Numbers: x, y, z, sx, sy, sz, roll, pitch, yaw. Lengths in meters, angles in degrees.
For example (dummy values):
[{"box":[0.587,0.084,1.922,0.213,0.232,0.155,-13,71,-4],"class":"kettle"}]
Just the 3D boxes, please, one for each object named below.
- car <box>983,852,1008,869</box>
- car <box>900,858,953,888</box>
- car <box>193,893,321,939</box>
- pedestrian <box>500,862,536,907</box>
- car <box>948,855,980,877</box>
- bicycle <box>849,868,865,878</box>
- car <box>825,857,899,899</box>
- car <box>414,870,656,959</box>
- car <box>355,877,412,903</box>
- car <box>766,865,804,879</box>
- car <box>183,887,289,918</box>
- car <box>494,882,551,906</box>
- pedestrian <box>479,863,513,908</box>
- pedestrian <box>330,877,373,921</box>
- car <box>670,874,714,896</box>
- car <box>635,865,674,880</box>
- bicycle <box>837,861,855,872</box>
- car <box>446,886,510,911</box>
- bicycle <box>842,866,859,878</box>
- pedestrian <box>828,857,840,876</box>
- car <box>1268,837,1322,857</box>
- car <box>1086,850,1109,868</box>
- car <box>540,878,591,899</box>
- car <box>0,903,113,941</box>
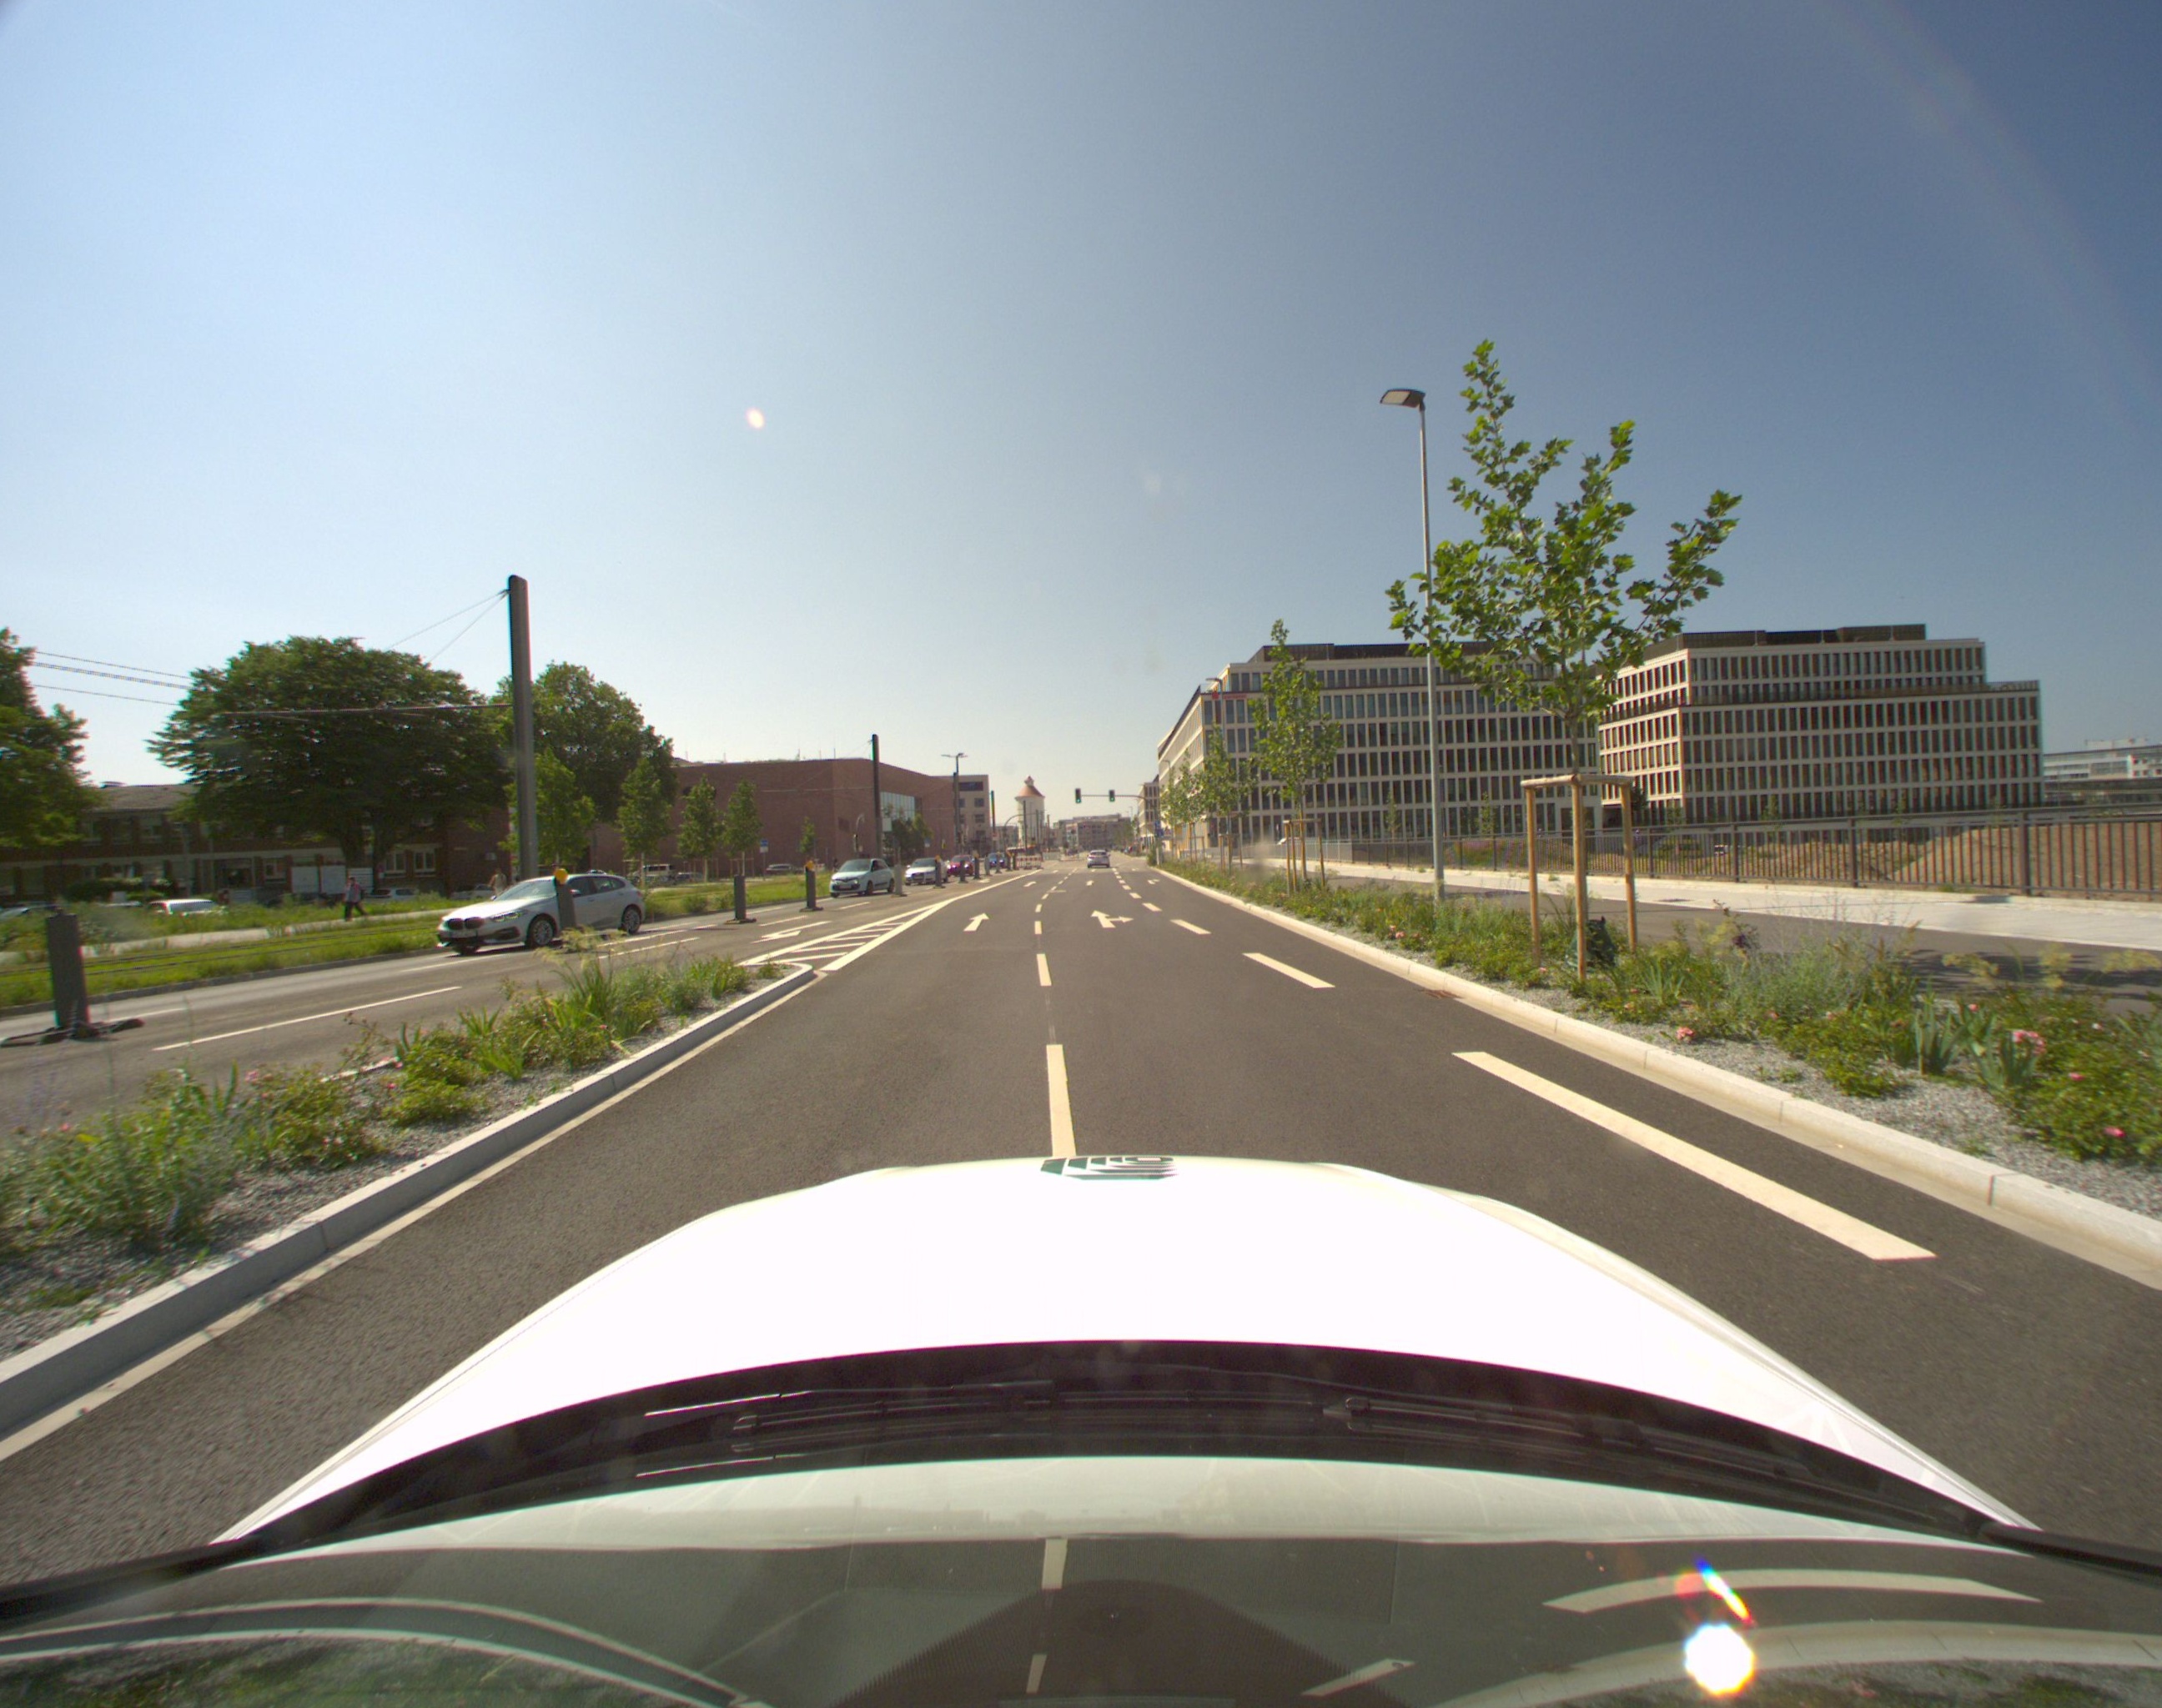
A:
[{"box":[-7.624,0.558,73.159,1.622,1.427,4.291,-3,0,1],"class":"car"},{"box":[-8.448,1.017,44.856,1.572,1.416,4.304,-3,0,6],"class":"car"},{"box":[-34.458,2.555,34.203,1.764,1.590,3.633,-1,0,-3],"class":"car"},{"box":[-26.380,1.418,38.184,0.979,2.013,0.911,-1,0,4],"class":"pedestrian"},{"box":[-8.131,0.826,56.874,1.574,1.416,4.000,-3,0,1],"class":"car"},{"box":[-30.287,2.545,110.134,2.051,1.212,0.538,-2,1,-10],"class":"bicycle"},{"box":[-9.267,0.989,34.738,1.571,1.530,3.630,-5,0,9],"class":"car"},{"box":[-11.267,1.168,17.278,1.665,1.443,4.476,-4,0,6],"class":"car"},{"box":[-43.252,2.191,50.611,1.546,1.457,4.232,-2,0,-25],"class":"car"},{"box":[-32.332,1.974,88.977,3.466,1.369,1.573,-2,1,0],"class":"car"},{"box":[-46.651,2.673,45.061,3.747,1.457,1.535,-2,1,-16],"class":"car"},{"box":[-40.301,2.864,58.869,1.534,1.457,3.786,-2,1,-1],"class":"car"},{"box":[-27.465,1.464,38.256,0.835,2.013,0.985,-1,0,4],"class":"pedestrian"},{"box":[-27.409,1.688,30.622,0.810,1.576,0.828,-2,0,7],"class":"pedestrian"},{"box":[-34.506,2.743,72.383,1.691,1.761,4.303,-2,-1,2],"class":"car"},{"box":[-49.641,2.153,94.878,3.530,1.689,1.695,-2,1,1],"class":"car"},{"box":[-28.892,1.560,100.028,2.051,1.212,0.538,-2,0,-10],"class":"bicycle"},{"box":[-40.245,2.934,54.431,1.534,1.457,3.784,-2,0,-2],"class":"car"},{"box":[-29.578,2.301,104.440,2.051,1.453,0.538,-2,1,-10],"class":"bicycle"},{"box":[-25.211,1.250,83.208,0.808,1.847,1.108,-2,0,4],"class":"pedestrian"},{"box":[24.790,-0.824,94.451,5.815,2.270,2.147,0,0,1],"class":"car"},{"box":[1.380,0.438,67.345,1.764,1.395,3.535,-1,-1,3],"class":"car"},{"box":[-40.814,2.713,64.563,1.532,1.457,3.789,-2,1,2],"class":"car"},{"box":[-48.326,3.162,38.296,1.532,1.453,3.346,-1,0,0],"class":"car"}]
